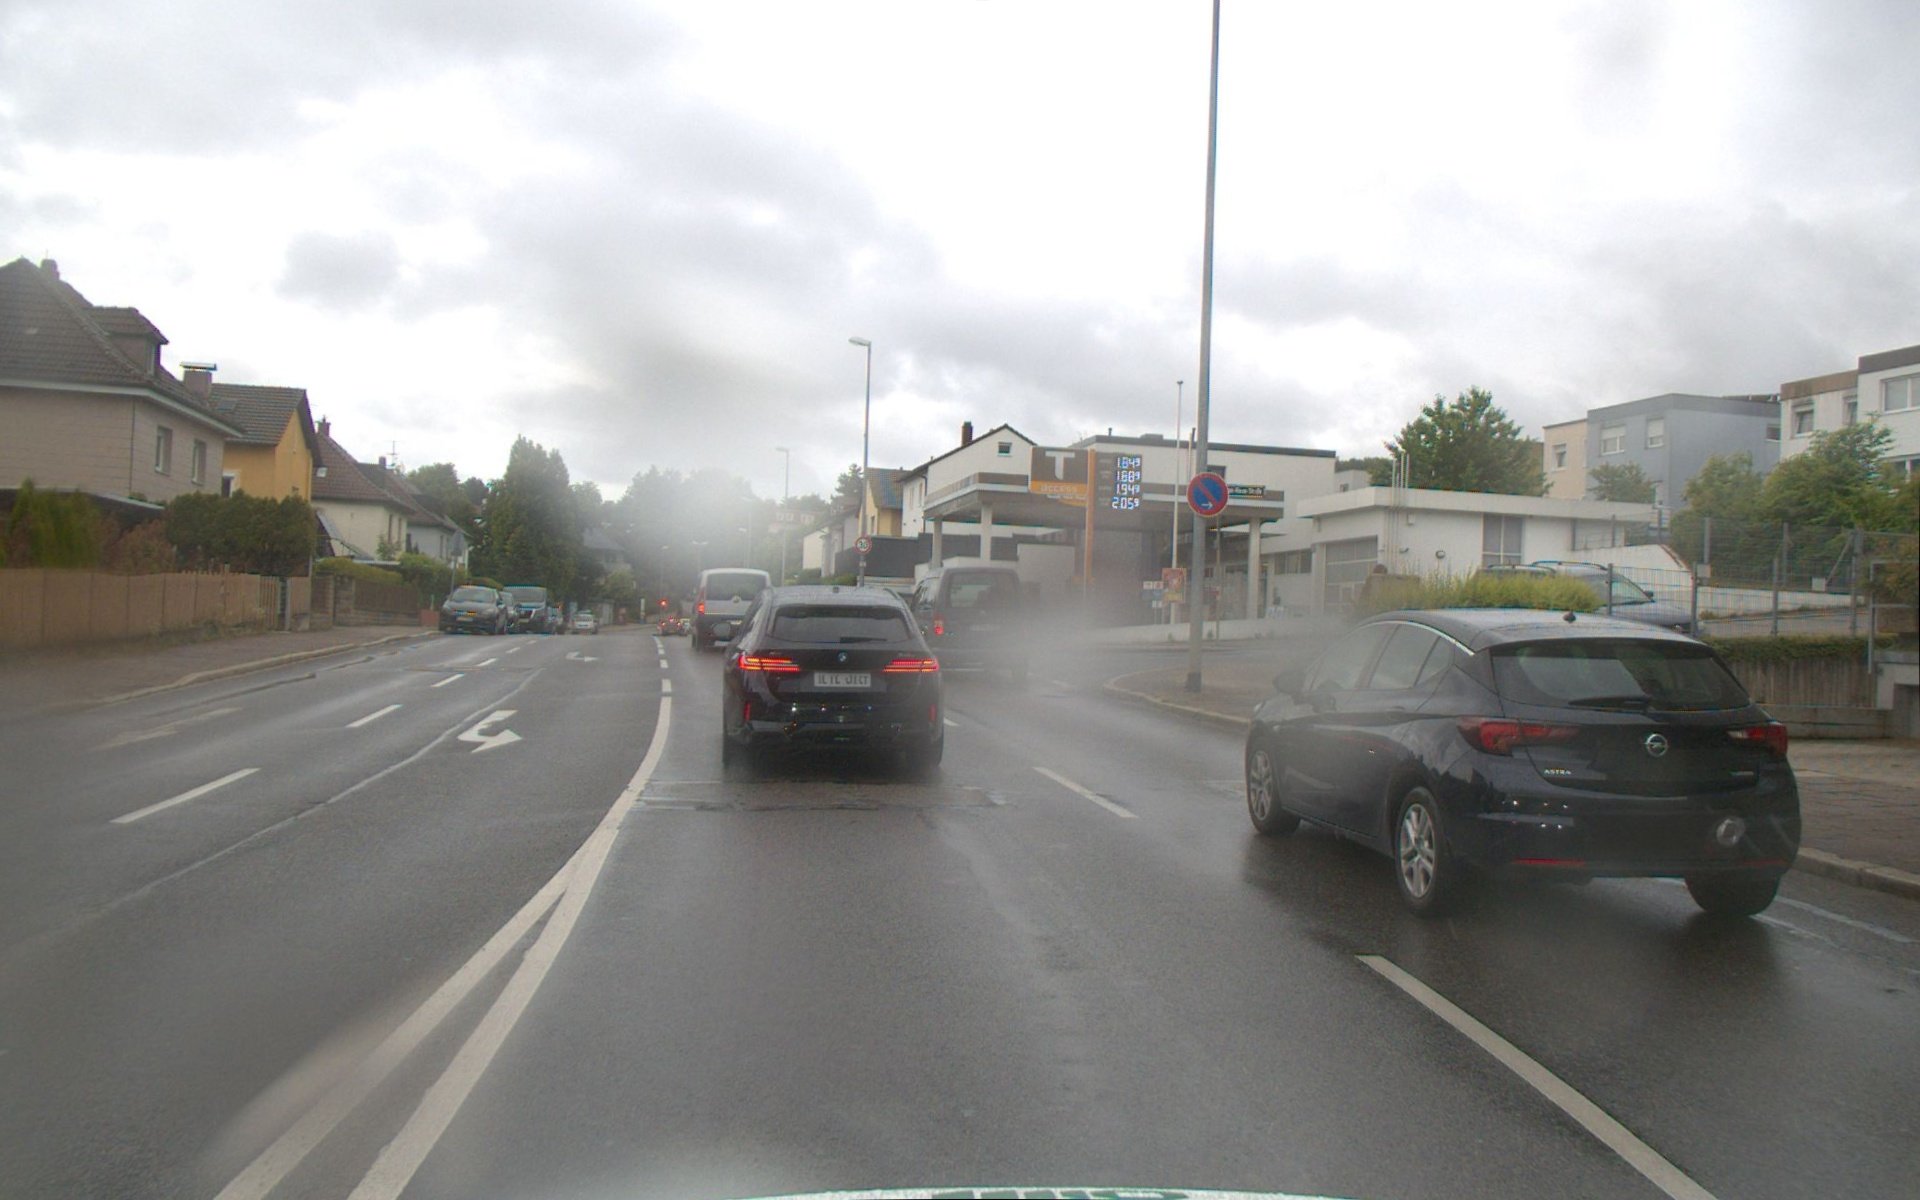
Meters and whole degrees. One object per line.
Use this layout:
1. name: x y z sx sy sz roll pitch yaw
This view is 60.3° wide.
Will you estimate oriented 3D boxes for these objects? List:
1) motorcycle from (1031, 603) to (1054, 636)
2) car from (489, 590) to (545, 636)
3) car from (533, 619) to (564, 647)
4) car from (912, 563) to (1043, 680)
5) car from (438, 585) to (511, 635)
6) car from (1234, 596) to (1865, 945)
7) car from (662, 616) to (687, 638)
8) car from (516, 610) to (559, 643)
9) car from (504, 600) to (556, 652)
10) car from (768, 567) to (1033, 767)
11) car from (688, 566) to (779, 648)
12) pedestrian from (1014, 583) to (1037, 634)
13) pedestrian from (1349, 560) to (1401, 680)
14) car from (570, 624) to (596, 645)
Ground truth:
1. motorcycle: 2.753 0.651 55.354 0.454 1.074 1.387 2 -2 -10
2. car: -16.051 0.510 60.034 1.720 1.543 4.512 2 -2 -13
3. car: -22.593 1.806 90.929 1.524 1.456 4.001 2 -2 -13
4. car: 0.220 0.396 28.285 1.803 1.798 3.995 2 -2 -5
5. car: -15.583 0.345 53.284 1.718 1.465 4.119 2 -2 -10
6. car: 2.916 0.749 9.189 1.722 1.474 3.995 2 0 -6
7. car: -25.445 2.427 147.451 1.955 1.771 3.994 2 -2 -7
8. car: -21.627 1.389 84.829 1.725 1.559 4.276 2 -2 -10
9. car: -18.145 1.115 69.941 1.879 2.038 5.070 2 -2 -13
10. car: -0.681 0.589 14.983 1.956 1.510 3.992 2 -2 -8
11. car: -5.310 0.216 38.739 1.956 1.768 3.992 2 -2 -8
12. pedestrian: 2.195 0.301 55.534 0.599 1.685 0.584 2 -2 -11
13. pedestrian: 7.203 0.353 28.753 0.701 2.049 0.614 2 -2 -2
14. car: -31.072 2.865 136.507 1.850 1.613 3.990 2 -2 -10
